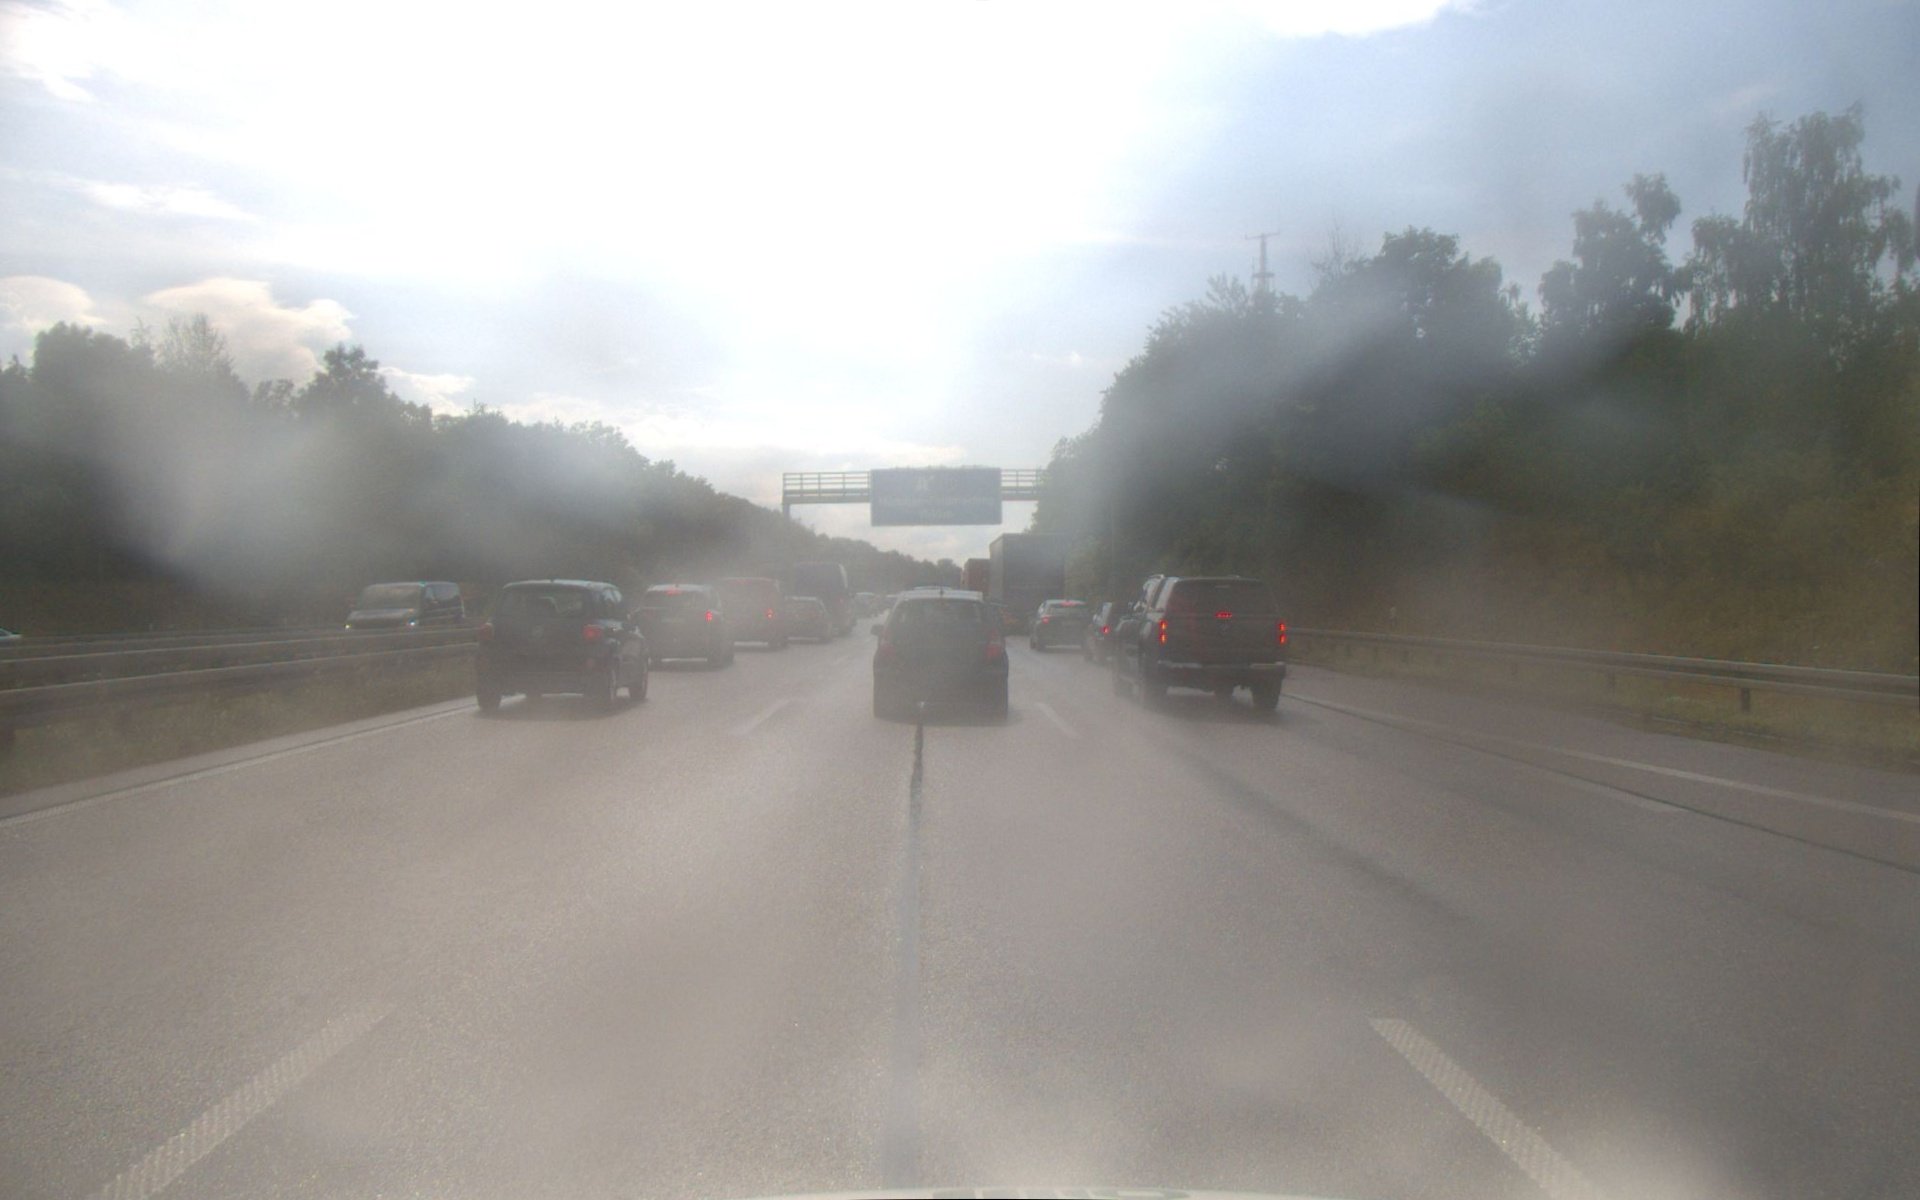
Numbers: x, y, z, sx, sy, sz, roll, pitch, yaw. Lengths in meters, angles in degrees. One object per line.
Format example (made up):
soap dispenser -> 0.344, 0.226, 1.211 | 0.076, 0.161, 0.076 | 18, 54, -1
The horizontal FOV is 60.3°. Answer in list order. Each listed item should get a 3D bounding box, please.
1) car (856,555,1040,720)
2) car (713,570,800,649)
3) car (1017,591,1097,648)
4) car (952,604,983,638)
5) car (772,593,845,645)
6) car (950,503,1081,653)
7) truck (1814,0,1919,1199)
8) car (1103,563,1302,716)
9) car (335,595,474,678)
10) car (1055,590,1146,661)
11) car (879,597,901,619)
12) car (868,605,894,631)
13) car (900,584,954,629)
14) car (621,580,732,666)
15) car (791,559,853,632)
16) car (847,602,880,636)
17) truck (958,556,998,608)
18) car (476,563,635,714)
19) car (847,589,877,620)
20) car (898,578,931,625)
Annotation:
car -> -0.255, 0.477, 22.663 | 2.229, 1.989, 4.818 | 1, 0, -3
car -> -5.679, 0.271, 46.670 | 1.938, 2.090, 4.755 | 1, 0, -1
car -> 2.721, 0.545, 47.288 | 1.828, 1.542, 3.973 | 1, 0, -3
car -> 0.449, 1.343, 108.742 | 1.953, 2.152, 4.887 | 1, 0, -1
car -> -4.823, 0.595, 53.255 | 1.953, 1.592, 4.755 | 1, 0, -1
car -> 2.170, -0.824, 74.567 | 4.316, 5.932, 16.806 | 1, 0, -3
truck -> 3.628, -0.474, 0.506 | 3.218, 3.959, 6.393 | 1, 0, -2
car -> 3.388, 0.525, 24.254 | 1.902, 1.952, 5.650 | 1, 0, -2
car -> -13.861, 0.880, 41.591 | 1.913, 1.924, 5.056 | 1, 0, -2
car -> 3.195, 0.578, 38.342 | 1.559, 1.542, 3.973 | 1, 0, -3
car -> -6.931, 0.805, 164.342 | 1.953, 2.152, 4.887 | 1, 0, -1
car -> -6.615, 1.521, 139.200 | 1.953, 2.152, 4.887 | 1, 0, -1
car -> -1.237, 0.242, 60.615 | 1.828, 1.542, 3.973 | 1, 0, -3
car -> -5.901, 0.458, 34.934 | 1.871, 1.665, 4.612 | -1, 0, -5
car -> -5.204, -0.150, 63.098 | 1.953, 2.661, 5.258 | 1, 0, -1
car -> -6.379, 1.244, 109.983 | 1.953, 2.152, 4.887 | 1, 0, -1
truck -> 1.294, -1.266, 121.729 | 2.719, 3.695, 5.915 | 1, 0, -1
car -> -5.358, 0.488, 22.338 | 1.661, 1.836, 3.968 | 1, 0, -8
car -> -7.024, 0.335, 118.873 | 1.953, 2.152, 4.887 | 1, 0, -1
car -> -2.780, 0.113, 101.805 | 1.953, 2.794, 5.258 | 1, 0, -1
